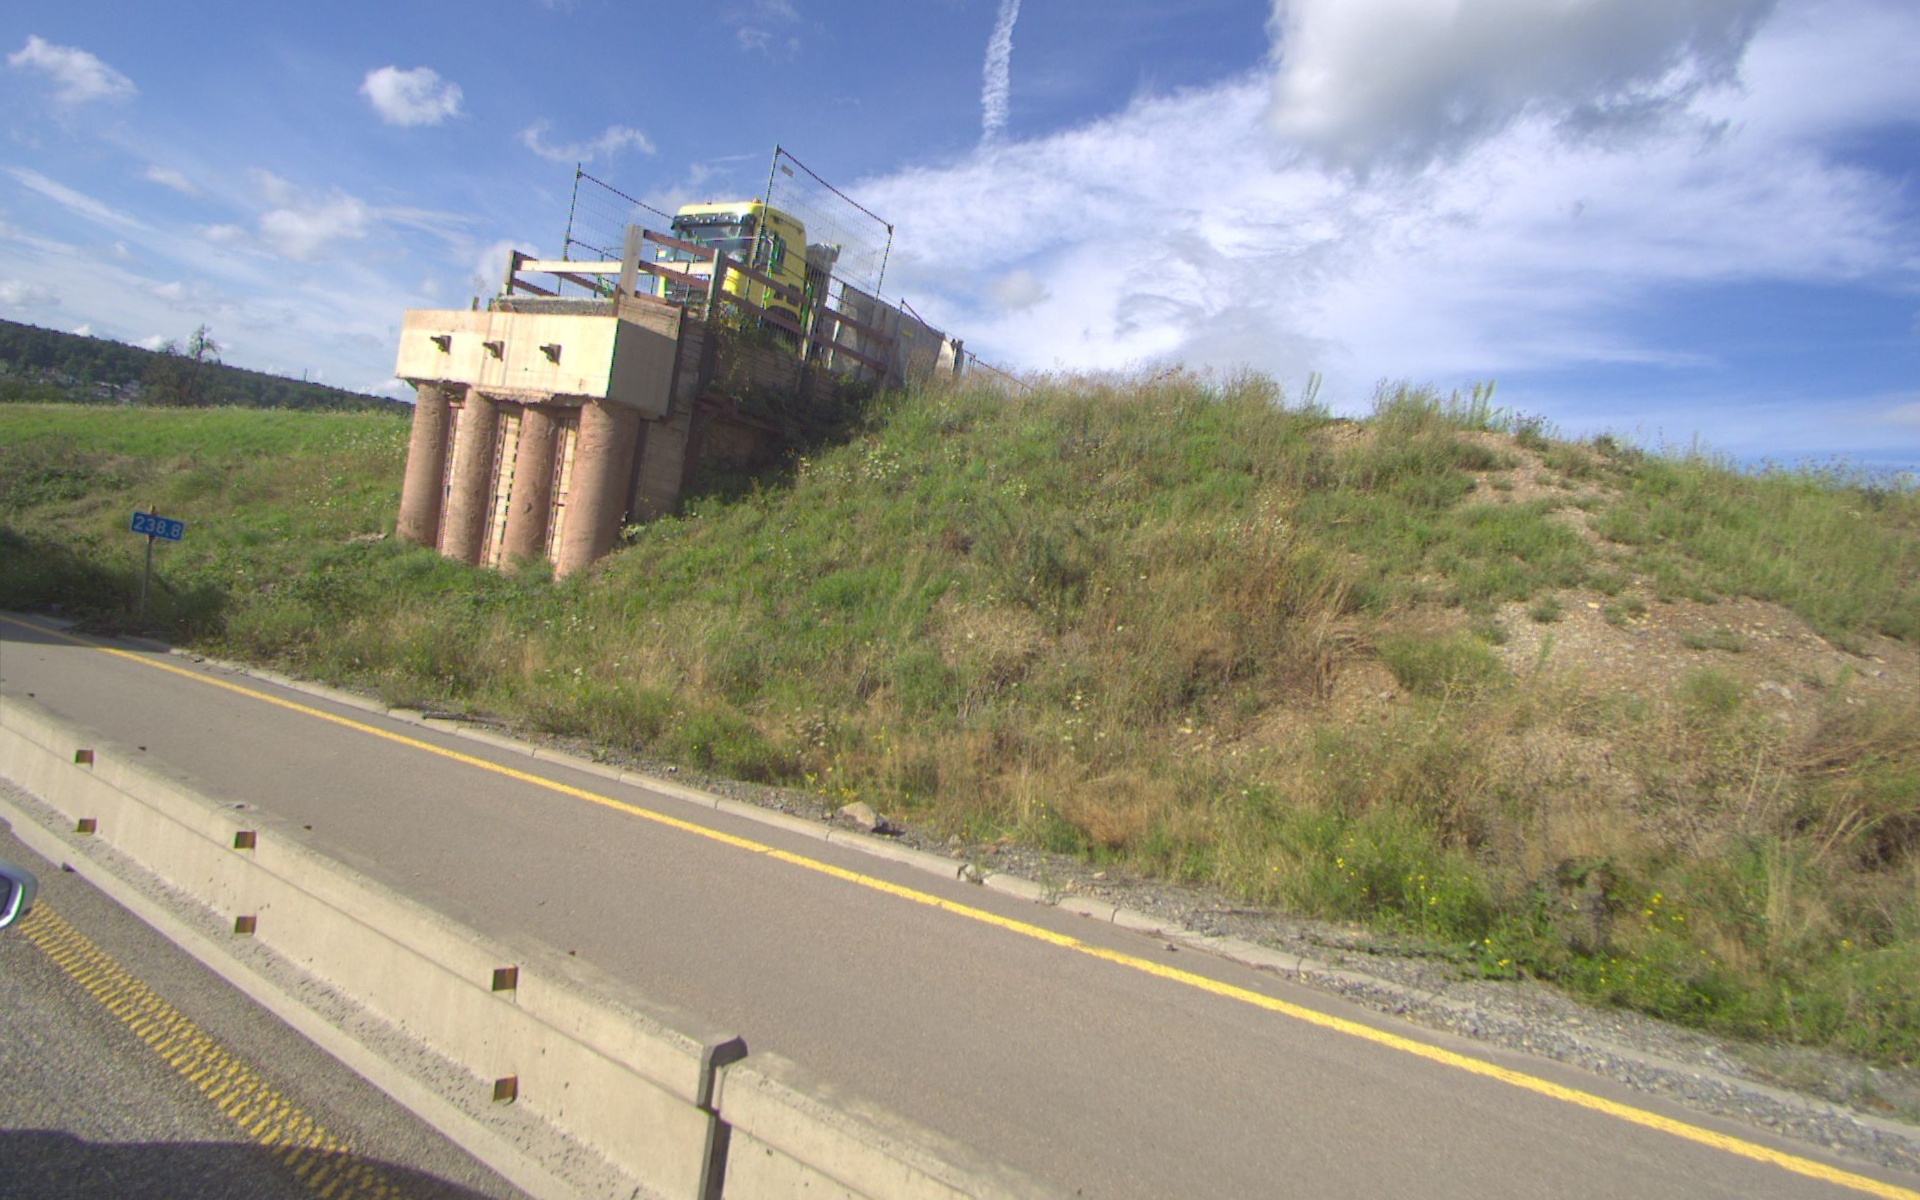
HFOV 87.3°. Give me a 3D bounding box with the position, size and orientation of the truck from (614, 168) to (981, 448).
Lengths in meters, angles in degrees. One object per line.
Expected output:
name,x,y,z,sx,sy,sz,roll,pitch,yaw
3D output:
truck,-3.212,-6.201,23.534,2.910,3.266,9.280,7,-1,31
